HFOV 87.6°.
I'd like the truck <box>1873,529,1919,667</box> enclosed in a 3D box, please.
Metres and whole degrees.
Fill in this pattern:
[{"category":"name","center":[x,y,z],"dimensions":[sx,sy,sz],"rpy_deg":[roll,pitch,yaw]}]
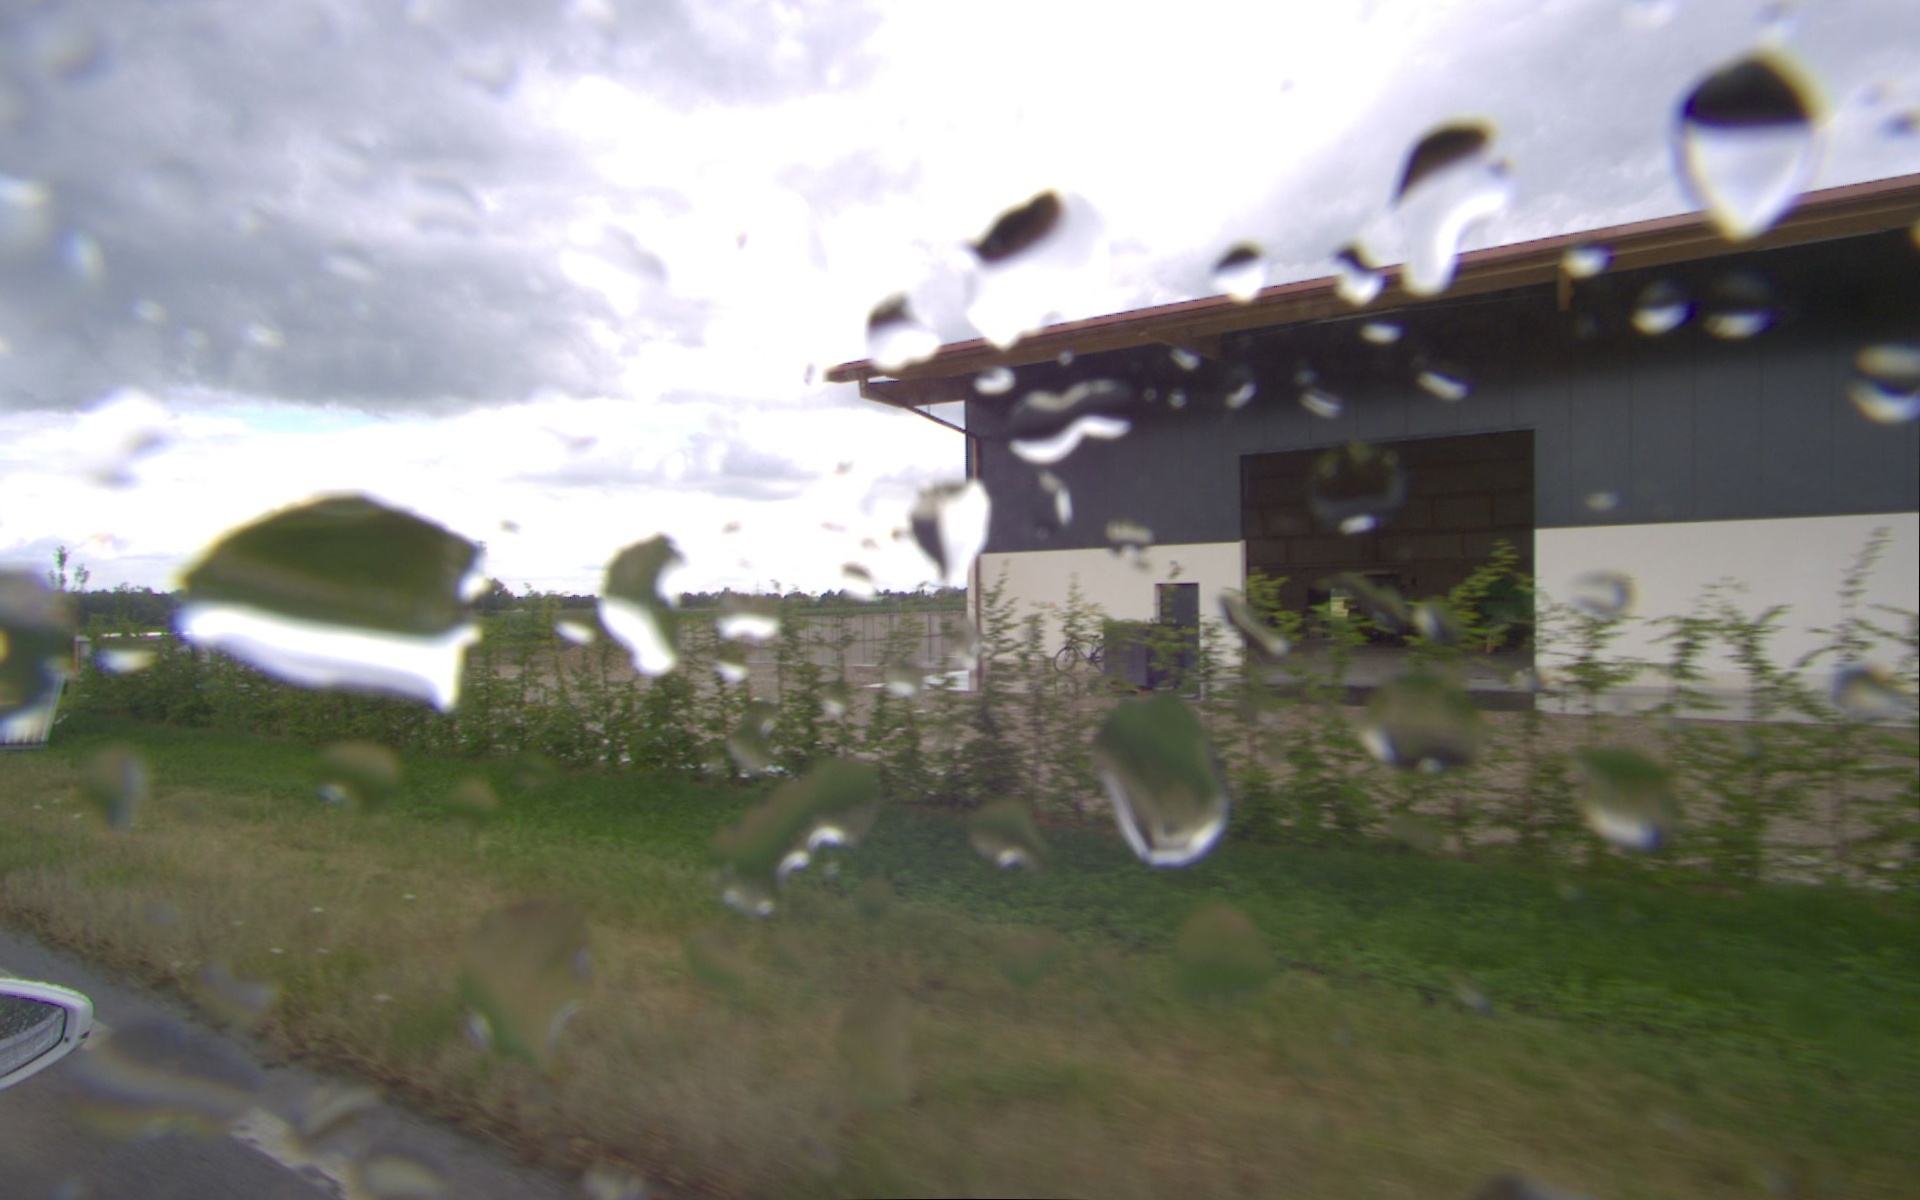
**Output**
[{"category":"truck","center":[23.895,-0.093,22.005],"dimensions":[5.267,3.053,2.484],"rpy_deg":[-1,0,32]}]

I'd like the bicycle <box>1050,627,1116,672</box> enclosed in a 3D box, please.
[{"category":"bicycle","center":[3.050,1.209,24.905],"dimensions":[1.637,1.086,0.389],"rpy_deg":[-1,1,33]}]

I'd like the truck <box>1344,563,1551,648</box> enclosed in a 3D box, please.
[{"category":"truck","center":[16.317,0.200,33.663],"dimensions":[6.068,2.642,2.112],"rpy_deg":[-1,0,33]}]
